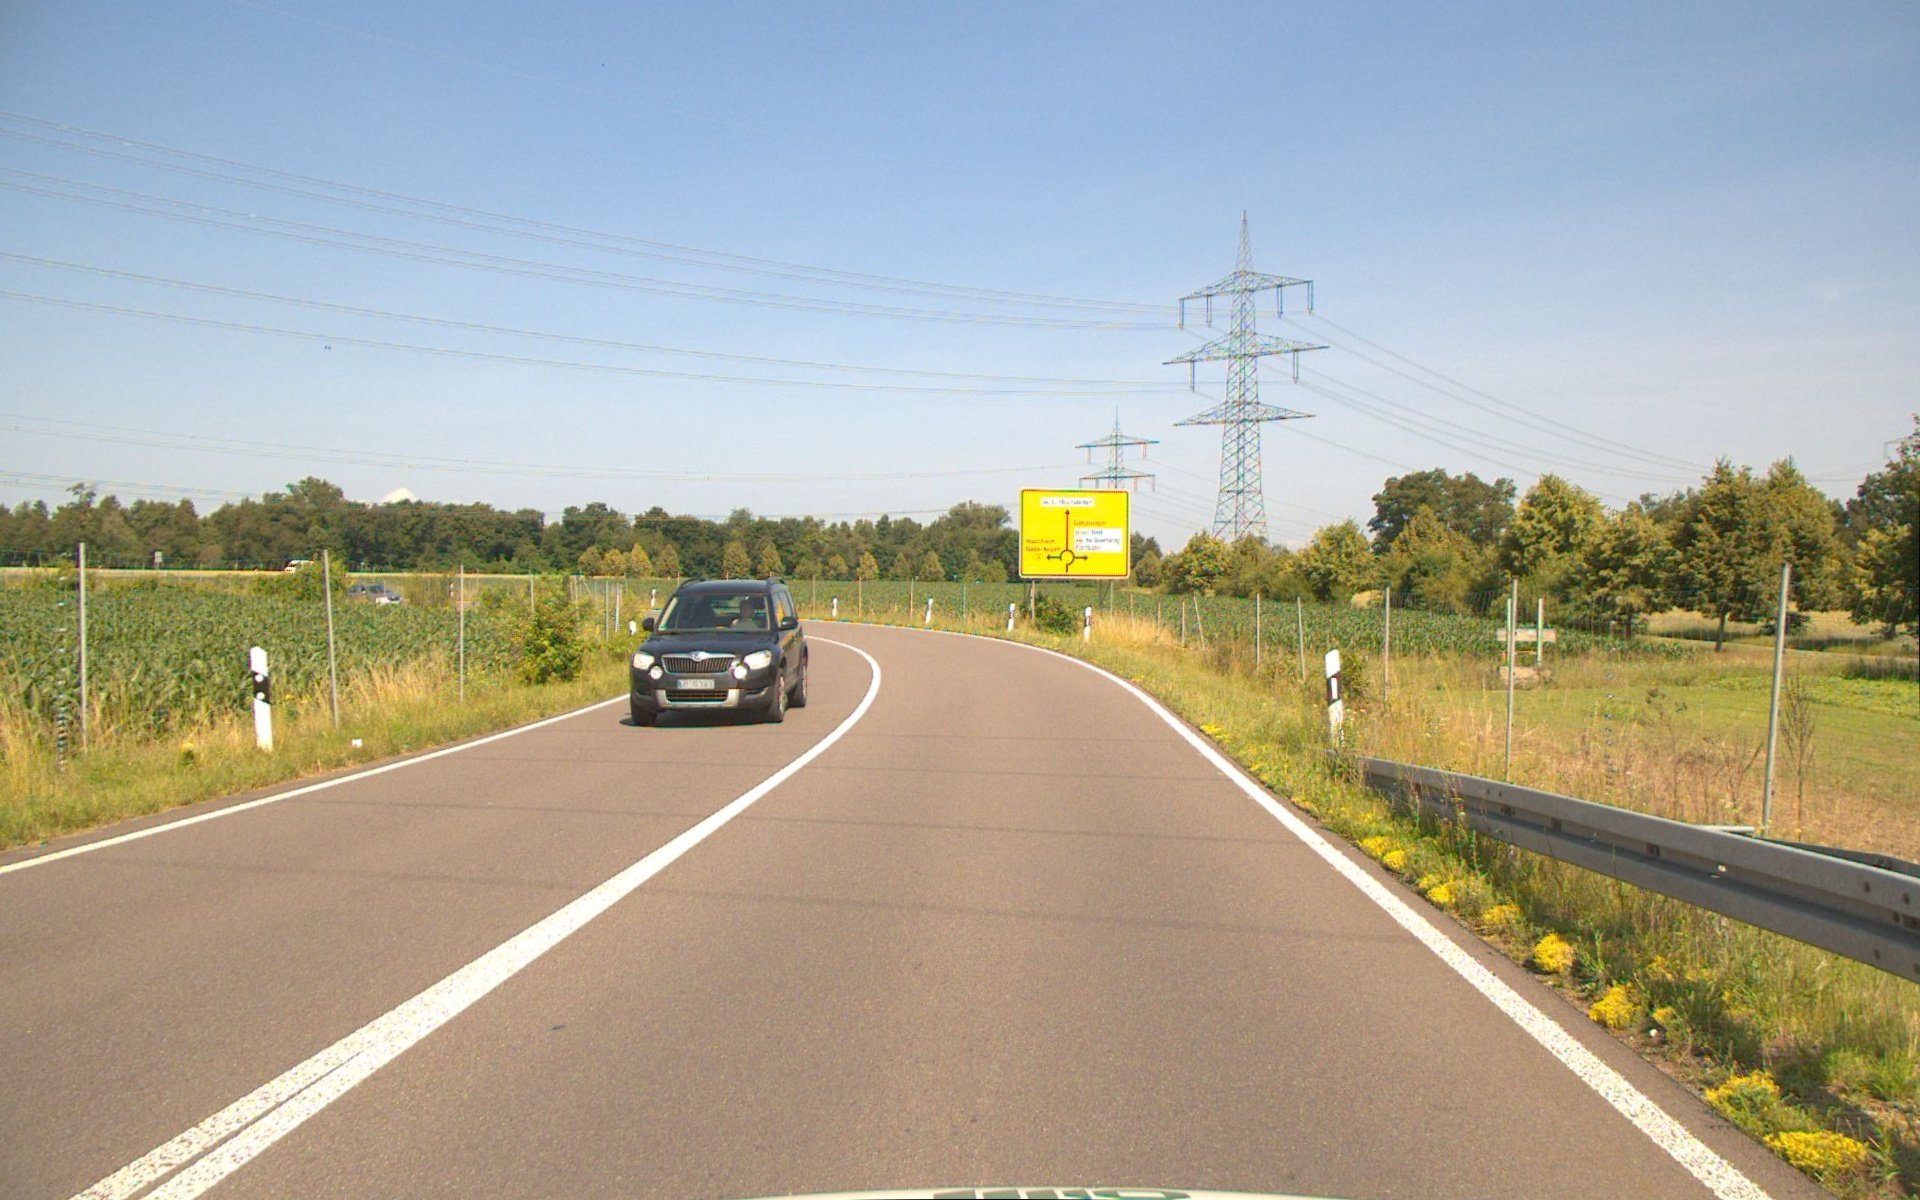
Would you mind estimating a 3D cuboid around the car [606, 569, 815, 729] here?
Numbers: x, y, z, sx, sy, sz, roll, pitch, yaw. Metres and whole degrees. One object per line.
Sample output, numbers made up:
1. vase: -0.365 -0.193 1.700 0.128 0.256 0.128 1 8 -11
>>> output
1. car: -2.966 0.538 20.571 1.943 1.736 4.261 -1 0 -1
